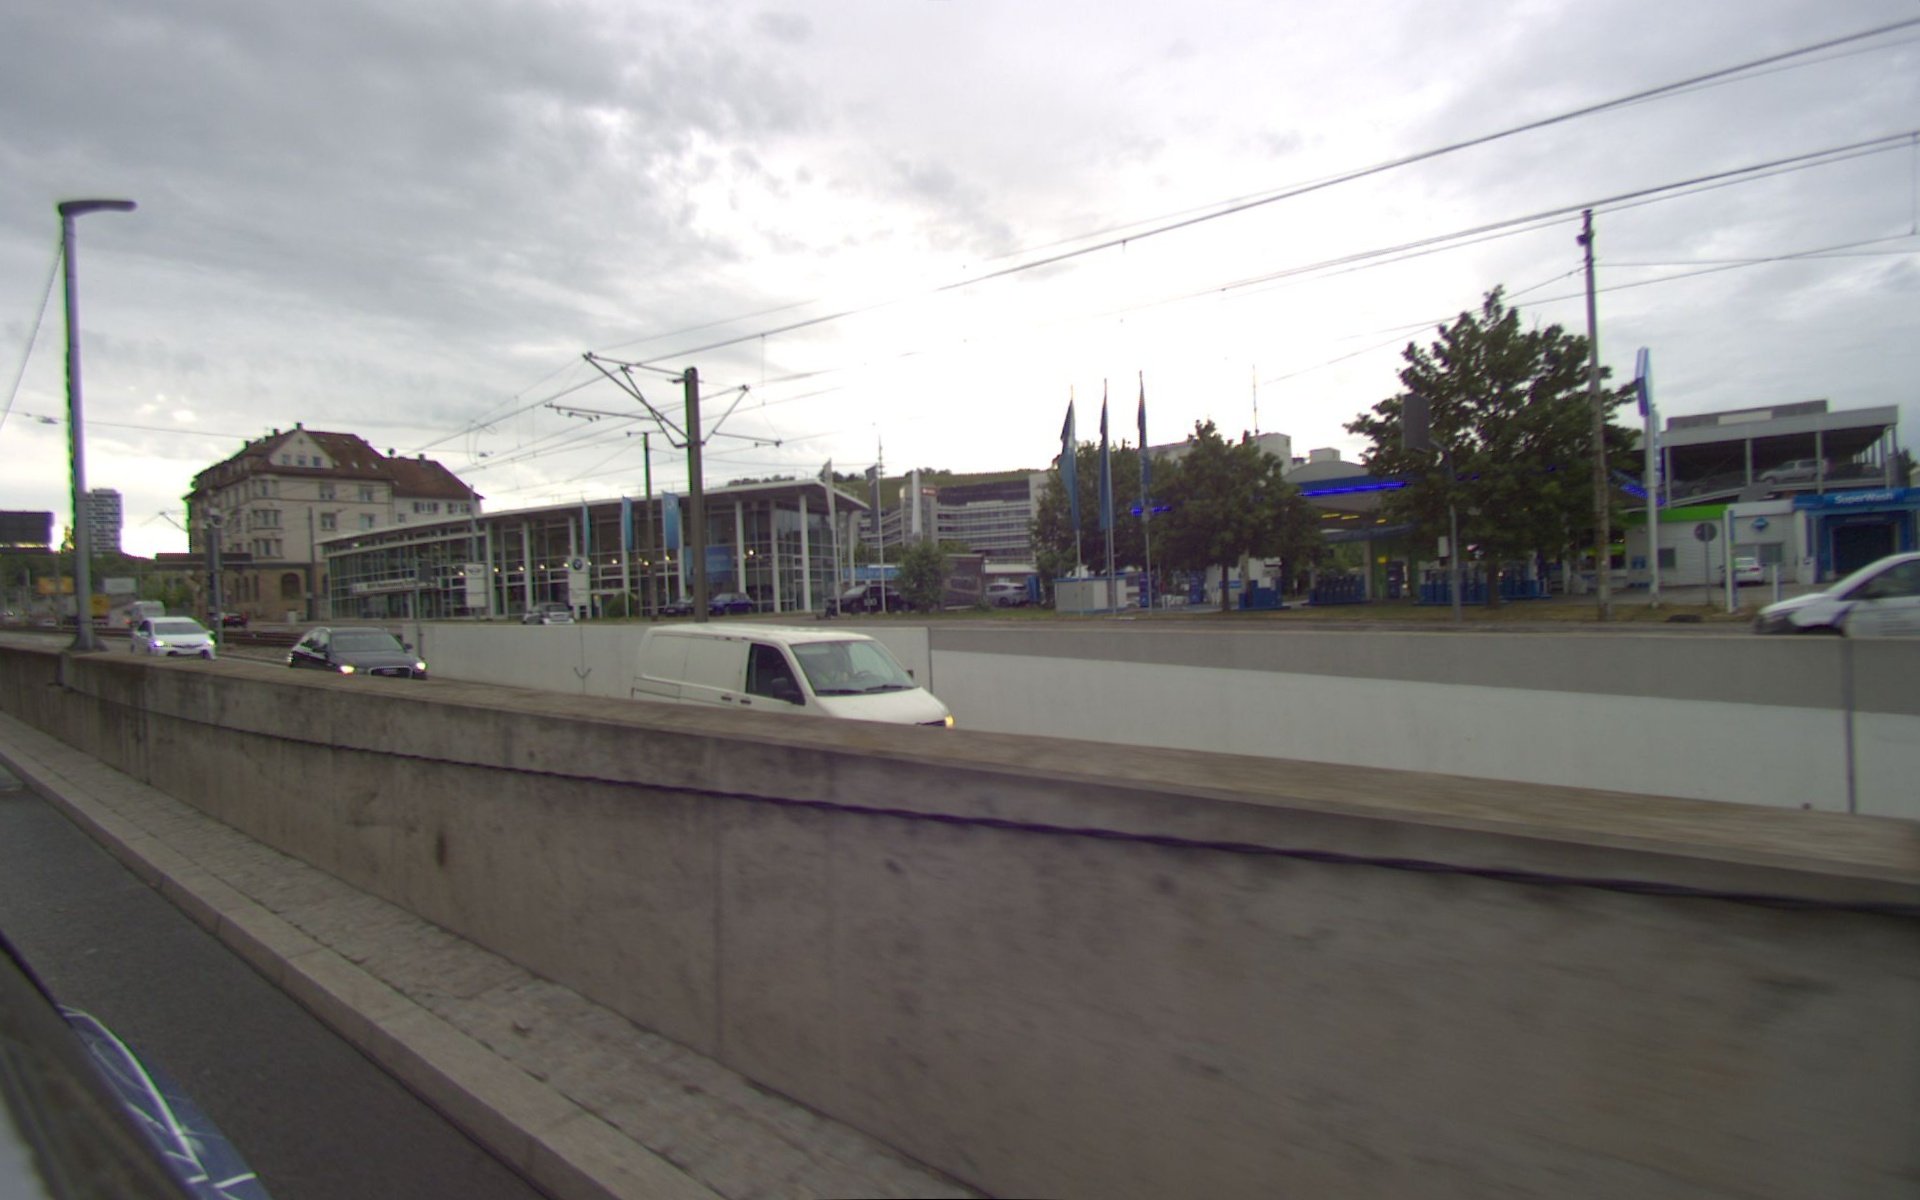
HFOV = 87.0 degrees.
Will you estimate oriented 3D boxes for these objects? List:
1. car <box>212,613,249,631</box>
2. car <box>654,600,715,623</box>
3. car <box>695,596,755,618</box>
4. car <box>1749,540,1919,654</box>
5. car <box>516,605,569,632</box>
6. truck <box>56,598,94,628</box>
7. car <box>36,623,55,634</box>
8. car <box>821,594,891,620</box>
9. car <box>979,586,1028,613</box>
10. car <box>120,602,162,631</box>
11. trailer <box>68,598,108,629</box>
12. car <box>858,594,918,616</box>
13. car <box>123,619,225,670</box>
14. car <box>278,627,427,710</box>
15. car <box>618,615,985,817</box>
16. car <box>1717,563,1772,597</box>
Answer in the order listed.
[{"bbox_3d":[-65.144,1.965,90.334,4.338,1.527,1.723,-1,0,41],"label":"car"},{"bbox_3d":[-17.392,0.704,64.054,1.691,1.244,3.973,-4,0,20],"label":"car"},{"bbox_3d":[-14.615,0.436,63.139,1.748,1.244,3.973,-1,1,20],"label":"car"},{"bbox_3d":[15.424,-0.073,15.626,5.031,1.708,1.980,-1,0,40],"label":"car"},{"bbox_3d":[-21.432,0.967,51.903,2.799,1.309,1.368,-1,1,41],"label":"car"},{"bbox_3d":[-124.239,1.816,141.991,10.136,4.082,2.655,-1,0,41],"label":"truck"},{"bbox_3d":[-164.837,5.199,182.435,5.190,1.888,1.973,-1,0,41],"label":"car"},{"bbox_3d":[-5.678,0.388,55.440,1.717,1.284,3.476,-1,1,45],"label":"car"},{"bbox_3d":[2.761,-0.034,64.491,2.798,1.584,1.368,-1,1,39],"label":"car"},{"bbox_3d":[-79.297,1.595,97.976,6.161,2.618,2.030,-1,1,41],"label":"car"},{"bbox_3d":[-116.973,1.824,135.694,9.077,4.082,2.655,-1,0,41],"label":"trailer"},{"bbox_3d":[-4.313,0.291,60.804,3.425,1.252,1.571,-1,1,38],"label":"car"},{"bbox_3d":[-26.755,1.467,34.393,4.317,1.585,1.956,-1,0,42],"label":"car"},{"bbox_3d":[-13.293,1.417,22.065,3.894,1.585,1.686,-1,0,42],"label":"car"},{"bbox_3d":[-2.106,1.219,12.443,4.716,1.973,1.889,-1,0,42],"label":"car"},{"bbox_3d":[40.427,-1.048,52.130,1.857,1.652,3.944,-2,0,43],"label":"car"}]
